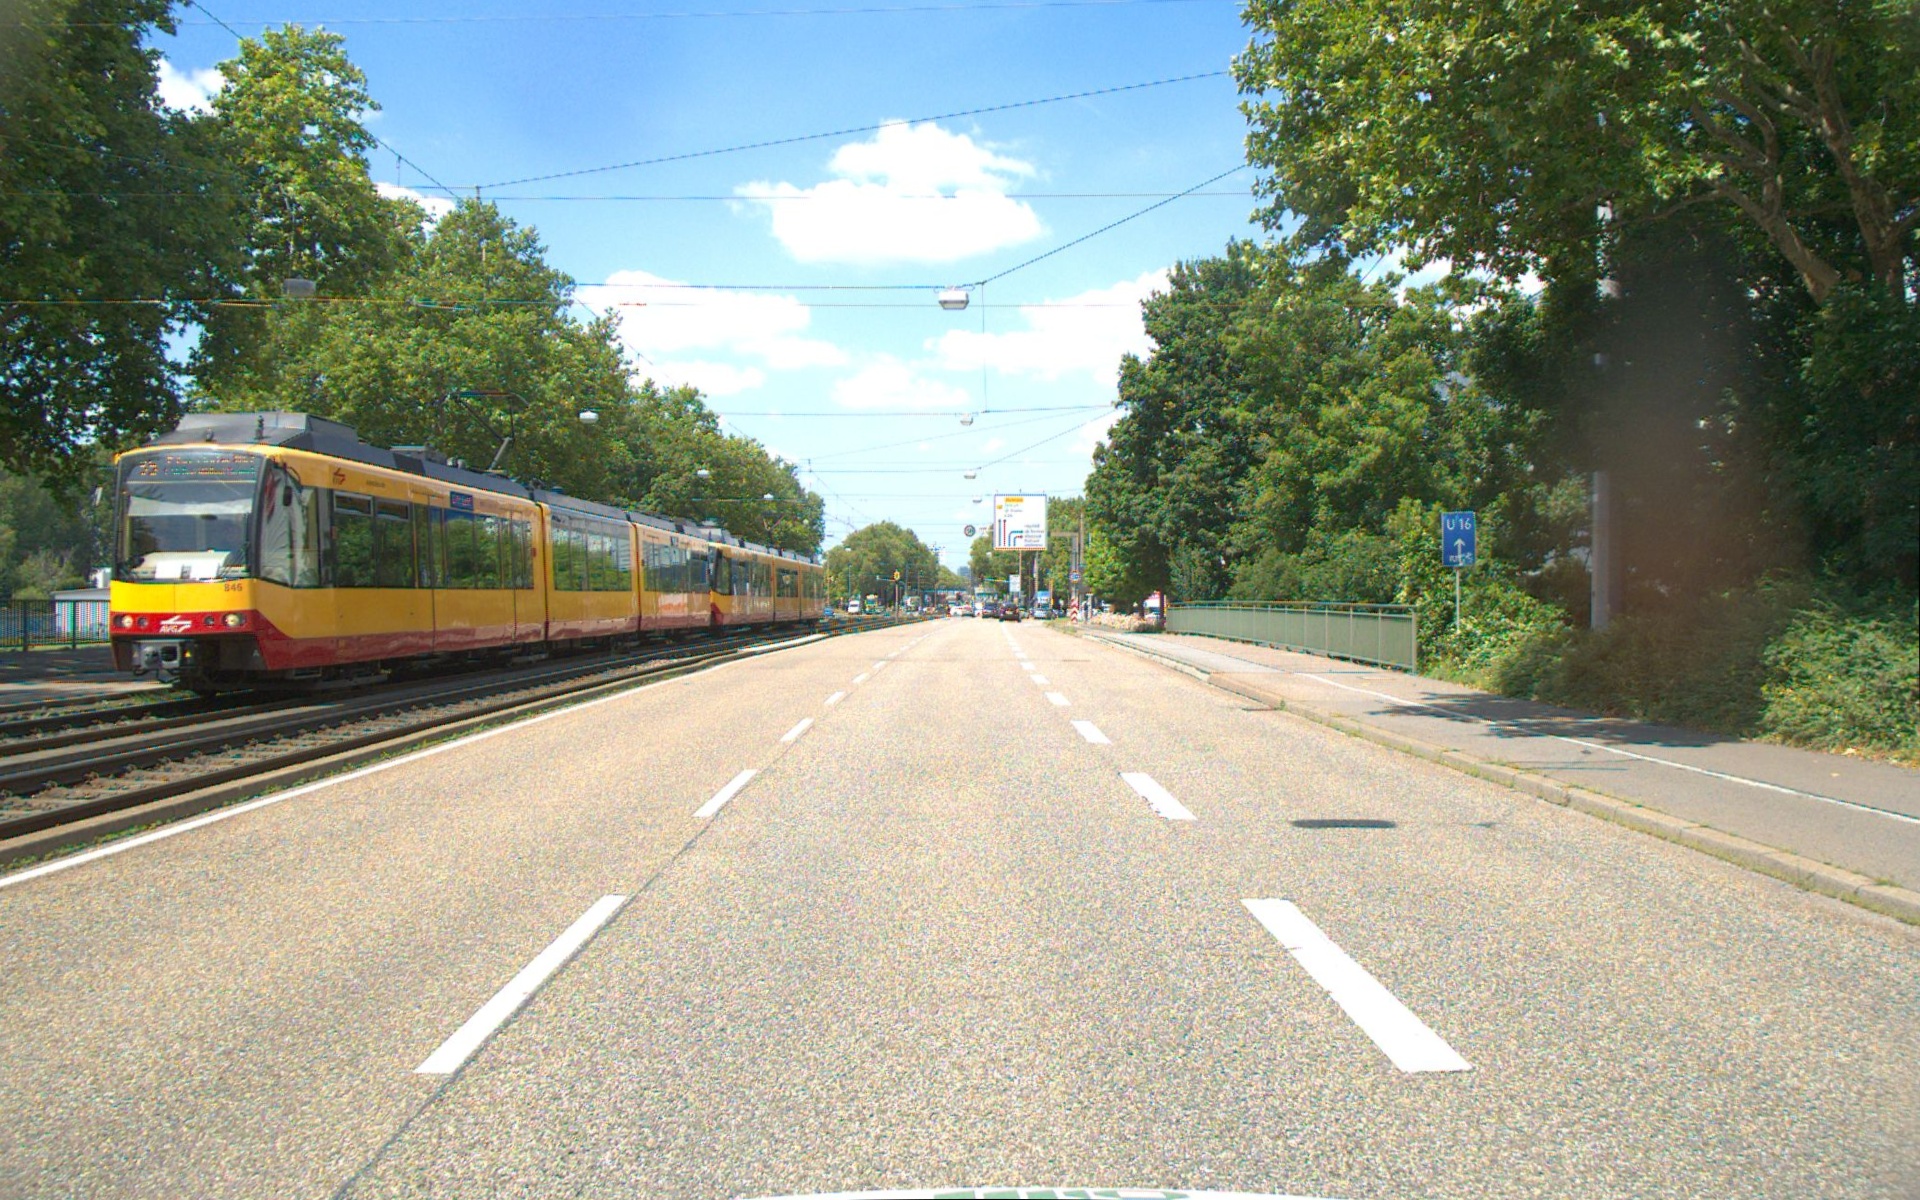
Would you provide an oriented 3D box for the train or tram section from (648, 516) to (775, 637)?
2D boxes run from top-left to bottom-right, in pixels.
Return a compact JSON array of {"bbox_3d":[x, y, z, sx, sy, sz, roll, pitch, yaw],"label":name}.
[{"bbox_3d":[-9.530,-0.839,65.142,2.976,4.227,13.481,-1,0,0],"label":"train or tram section"}]

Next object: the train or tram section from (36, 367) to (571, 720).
[{"bbox_3d":[-9.923,-0.737,28.153,2.986,4.342,15.422,0,0,0],"label":"train or tram section"}]

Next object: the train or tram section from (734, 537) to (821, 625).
[{"bbox_3d":[-9.465,-0.947,87.476,2.975,4.213,13.981,-1,0,0],"label":"train or tram section"}]

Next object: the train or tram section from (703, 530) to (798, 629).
[{"bbox_3d":[-9.507,-0.893,76.272,2.975,4.221,10.233,-1,0,0],"label":"train or tram section"}]

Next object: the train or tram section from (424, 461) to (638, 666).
[{"bbox_3d":[-9.932,-0.801,39.328,2.986,4.342,8.002,0,0,0],"label":"train or tram section"}]

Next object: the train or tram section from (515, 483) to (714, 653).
[{"bbox_3d":[-9.939,-0.861,49.623,2.986,4.342,14.036,0,0,0],"label":"train or tram section"}]

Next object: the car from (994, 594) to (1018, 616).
[{"bbox_3d":[3.961,0.437,142.200,1.860,1.837,3.976,2,0,0],"label":"car"}]

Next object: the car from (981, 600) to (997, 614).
[{"bbox_3d":[3.512,0.846,203.061,1.837,1.566,3.776,2,0,0],"label":"car"}]
